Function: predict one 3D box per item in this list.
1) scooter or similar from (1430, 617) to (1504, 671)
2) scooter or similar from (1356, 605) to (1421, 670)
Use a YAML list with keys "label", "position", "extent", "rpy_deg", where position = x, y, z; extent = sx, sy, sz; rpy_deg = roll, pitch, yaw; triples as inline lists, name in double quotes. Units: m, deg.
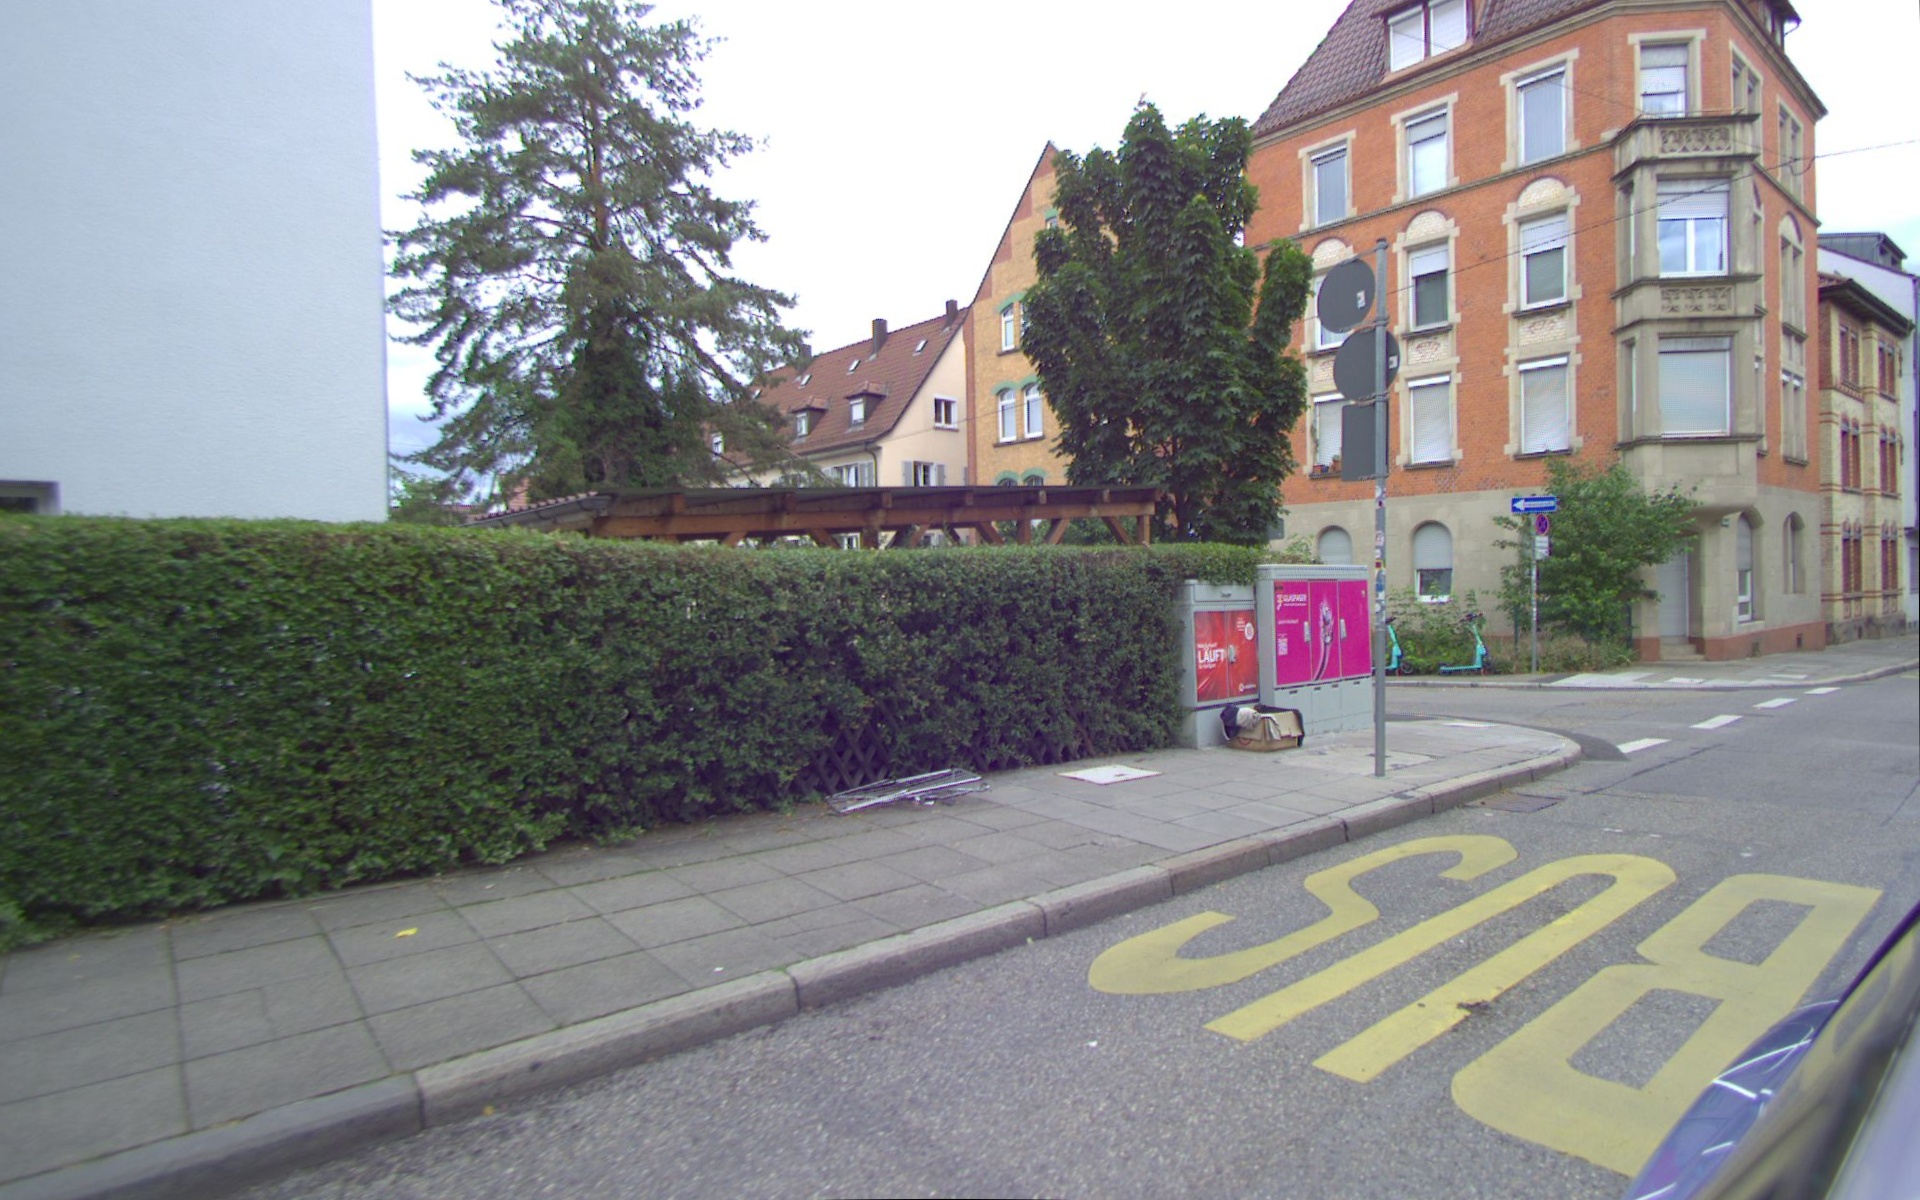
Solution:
- label: "scooter or similar"
  position: [10.139, 0.878, 20.252]
  extent: [0.408, 1.029, 1.236]
  rpy_deg: [-1, -1, -40]
- label: "scooter or similar"
  position: [9.065, 0.805, 21.444]
  extent: [0.408, 1.287, 1.087]
  rpy_deg: [-4, -2, -40]
